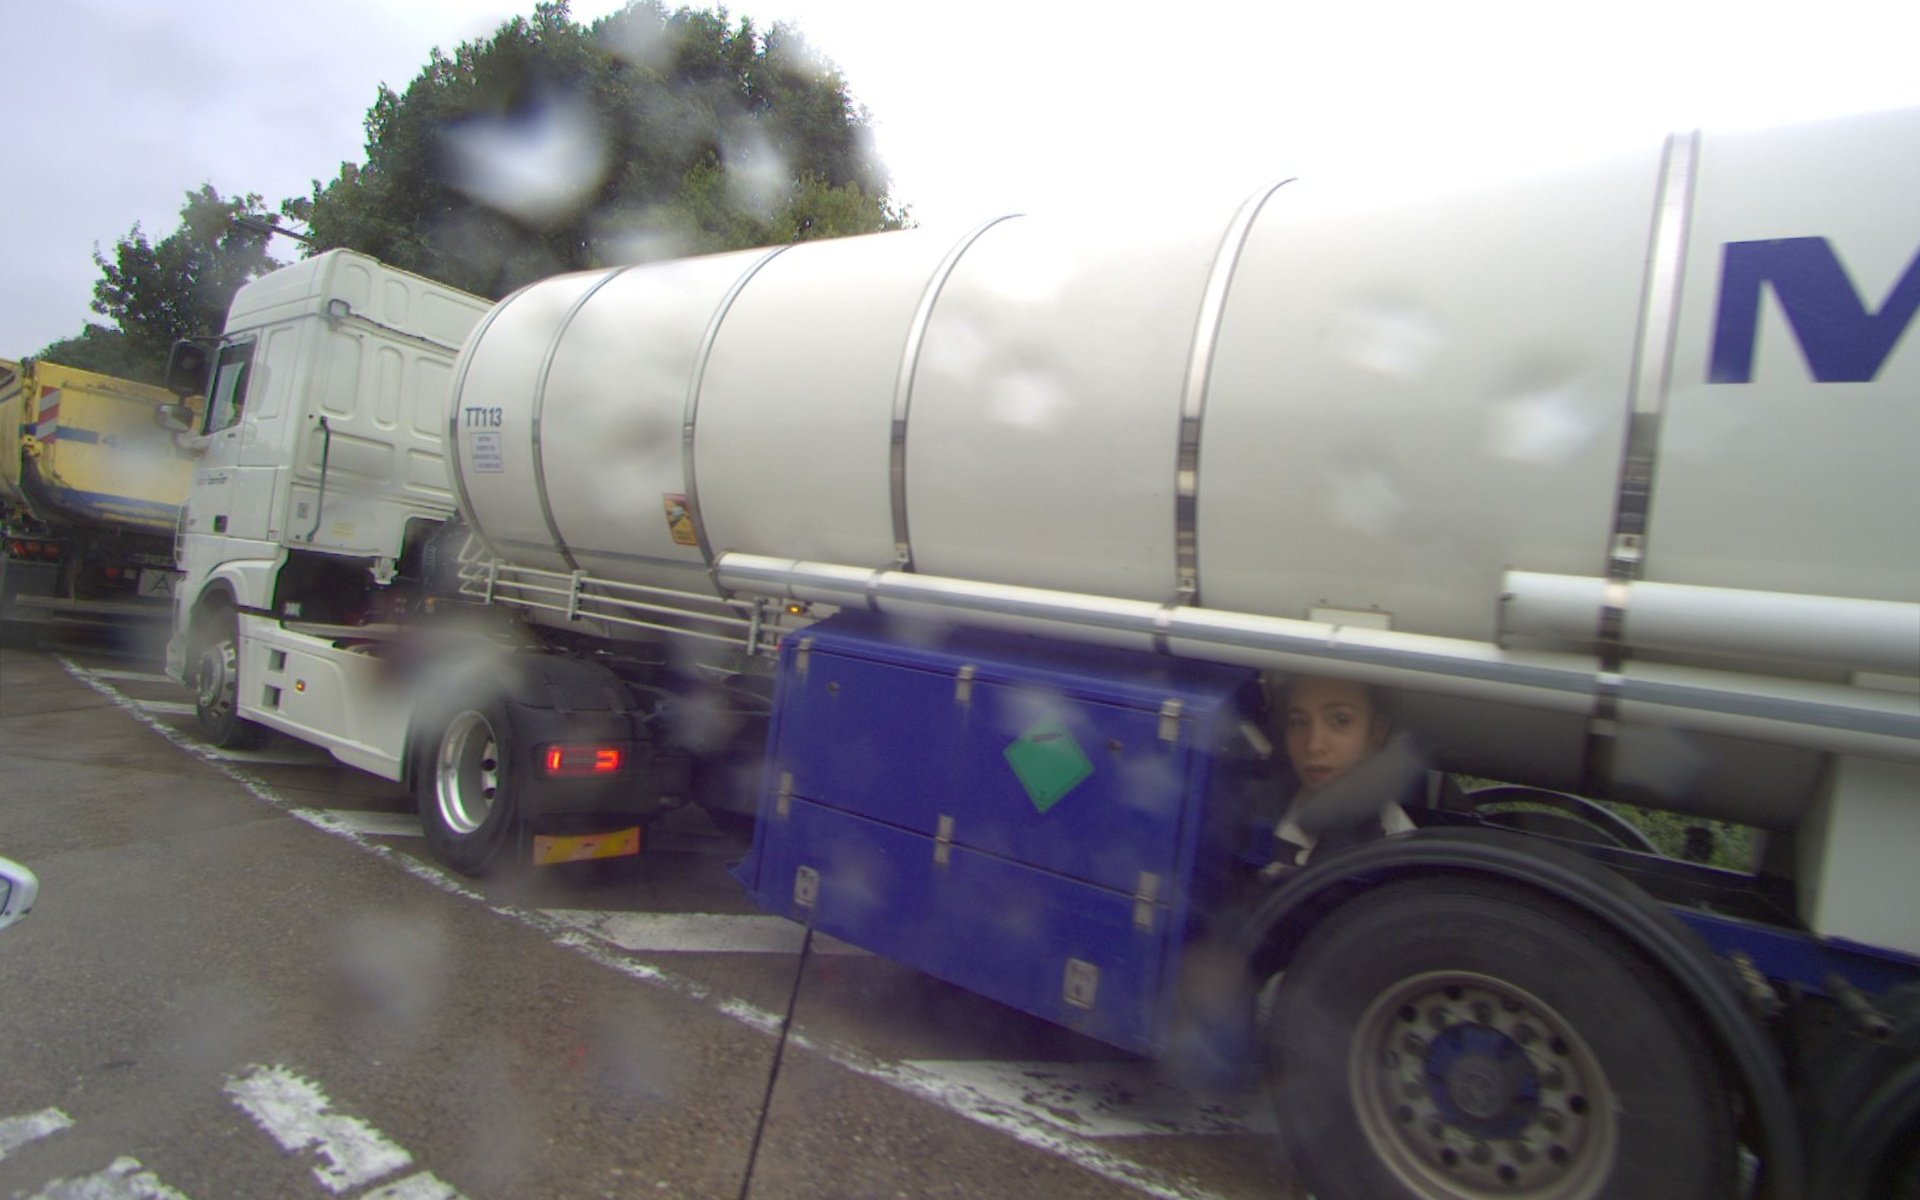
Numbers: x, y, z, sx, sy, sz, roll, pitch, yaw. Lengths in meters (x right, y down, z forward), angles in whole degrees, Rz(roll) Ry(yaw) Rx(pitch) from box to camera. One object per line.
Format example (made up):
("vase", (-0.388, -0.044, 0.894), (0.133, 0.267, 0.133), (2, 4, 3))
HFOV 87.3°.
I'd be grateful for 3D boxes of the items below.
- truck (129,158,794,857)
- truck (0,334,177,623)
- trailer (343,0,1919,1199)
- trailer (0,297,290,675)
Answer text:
("truck", (-3.785, -0.554, 7.312), (4.575, 3.554, 2.147), (6, -1, 37))
("truck", (-14.540, -1.843, 16.150), (4.086, 3.873, 2.177), (6, -1, 43))
("trailer", (1.484, 0.027, 3.392), (10.095, 3.481, 2.132), (6, -1, 36))
("trailer", (-10.961, -1.277, 12.760), (7.463, 3.432, 2.179), (6, -1, 43))
